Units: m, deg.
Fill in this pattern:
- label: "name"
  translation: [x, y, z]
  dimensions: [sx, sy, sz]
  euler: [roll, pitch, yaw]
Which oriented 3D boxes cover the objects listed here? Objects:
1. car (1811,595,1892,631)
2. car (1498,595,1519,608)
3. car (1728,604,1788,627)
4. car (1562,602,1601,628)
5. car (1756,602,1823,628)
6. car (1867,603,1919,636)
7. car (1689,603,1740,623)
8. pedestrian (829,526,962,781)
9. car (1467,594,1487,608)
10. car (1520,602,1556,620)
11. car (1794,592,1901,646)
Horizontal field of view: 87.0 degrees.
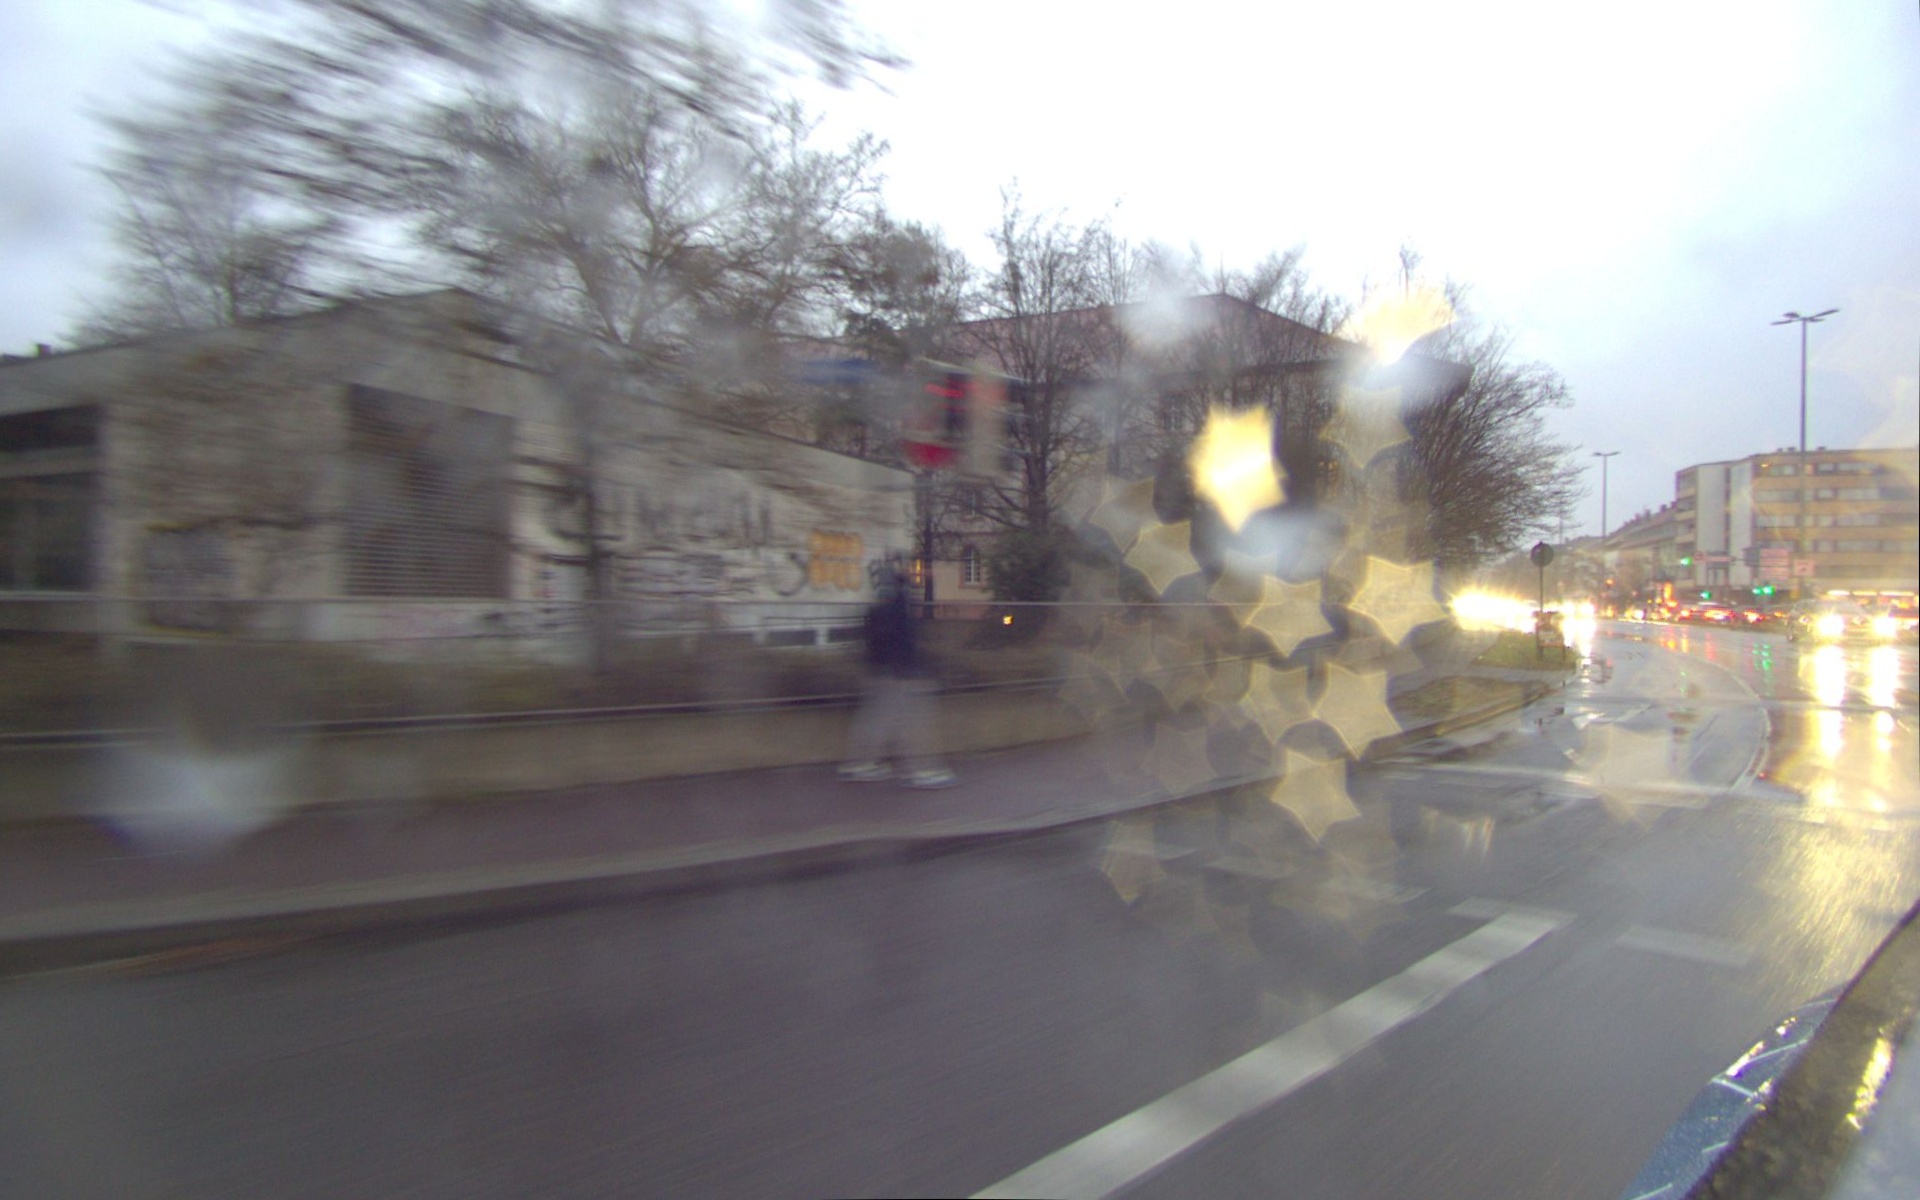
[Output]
- label: "car"
  translation: [48.718, 0.695, 55.430]
  dimensions: [1.947, 1.805, 4.498]
  euler: [1, 0, 23]
- label: "car"
  translation: [68.872, 0.207, 127.052]
  dimensions: [1.978, 1.554, 3.968]
  euler: [0, 0, 23]
- label: "car"
  translation: [53.273, 0.994, 67.660]
  dimensions: [1.946, 1.404, 4.499]
  euler: [1, 0, 22]
- label: "car"
  translation: [51.332, 1.199, 83.650]
  dimensions: [1.976, 2.039, 3.971]
  euler: [1, 0, 21]
- label: "car"
  translation: [51.172, 0.898, 62.528]
  dimensions: [1.946, 1.533, 4.499]
  euler: [1, 0, 22]
- label: "car"
  translation: [45.773, 0.923, 49.016]
  dimensions: [1.634, 1.506, 3.964]
  euler: [1, 0, 25]
- label: "car"
  translation: [56.733, 0.933, 76.170]
  dimensions: [1.946, 1.404, 4.499]
  euler: [1, 0, 22]
- label: "pedestrian"
  translation: [-0.506, 0.395, 7.895]
  dimensions: [0.671, 1.860, 0.574]
  euler: [3, 4, -39]
- label: "car"
  translation: [65.372, 0.115, 127.949]
  dimensions: [1.978, 1.717, 3.968]
  euler: [0, 0, 23]
- label: "car"
  translation: [47.587, 0.878, 83.343]
  dimensions: [1.946, 1.404, 4.499]
  euler: [1, 0, 22]
- label: "car"
  translation: [31.608, 0.646, 36.189]
  dimensions: [1.802, 1.764, 4.148]
  euler: [2, 1, 26]
